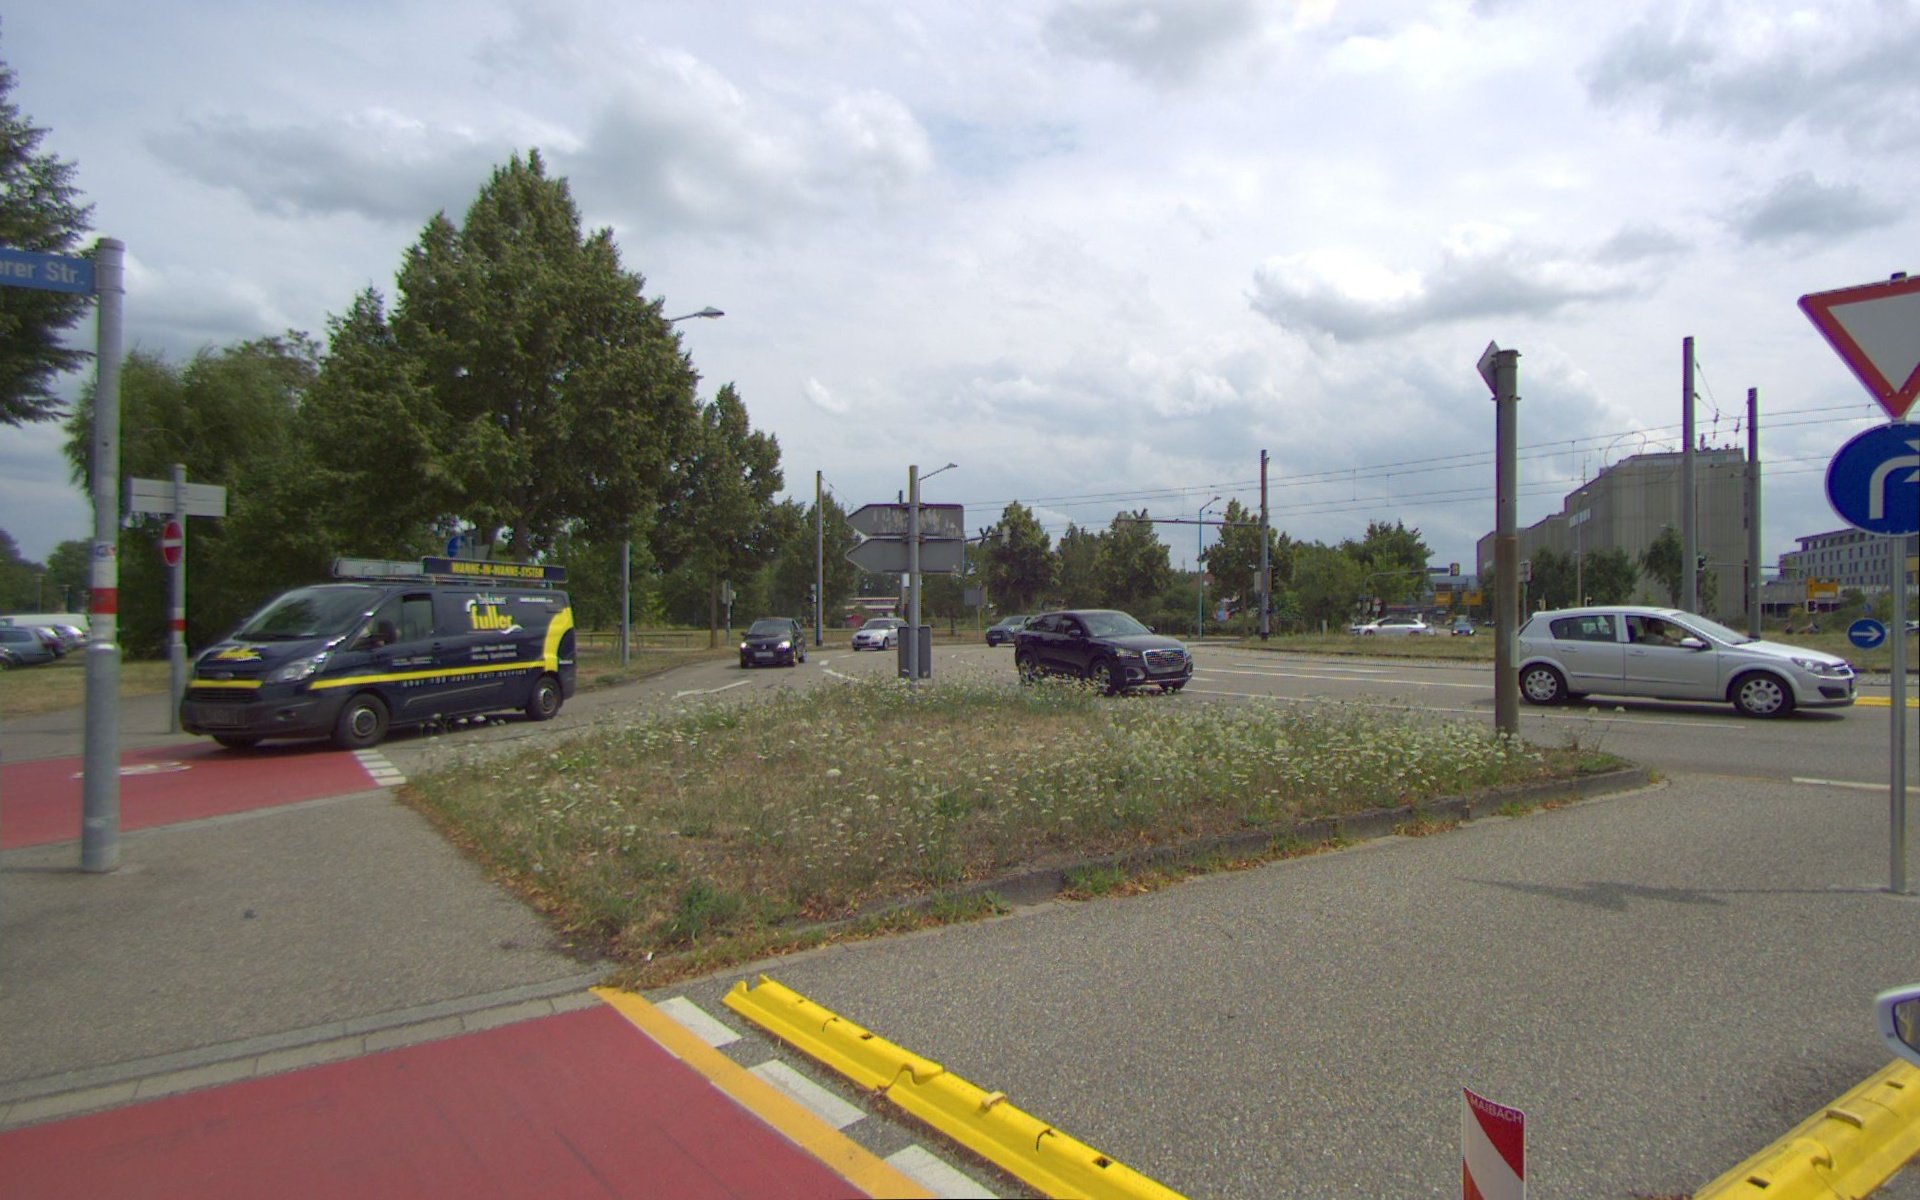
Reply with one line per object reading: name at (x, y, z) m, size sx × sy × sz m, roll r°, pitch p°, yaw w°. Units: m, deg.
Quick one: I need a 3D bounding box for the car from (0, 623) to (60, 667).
car at (-33.511, 1.506, 33.660) m, size 4.847 × 1.491 × 1.813 m, roll 1°, pitch -1°, yaw -39°

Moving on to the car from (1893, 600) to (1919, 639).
car at (50.875, 1.044, 51.515) m, size 1.967 × 2.040 × 3.988 m, roll 2°, pitch -1°, yaw -15°

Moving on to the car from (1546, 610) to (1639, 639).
car at (37.476, 1.442, 59.600) m, size 4.267 × 1.688 × 1.939 m, roll 0°, pitch -1°, yaw 14°

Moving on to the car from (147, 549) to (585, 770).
car at (-7.314, 0.671, 13.230) m, size 1.959 × 2.303 × 5.163 m, roll 0°, pitch -1°, yaw 12°

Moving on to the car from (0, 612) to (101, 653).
car at (-48.979, 1.704, 52.972) m, size 5.527 × 2.083 × 2.175 m, roll 1°, pitch -1°, yaw -41°

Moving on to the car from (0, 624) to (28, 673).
car at (-29.798, 1.497, 29.927) m, size 1.464 × 1.442 × 2.898 m, roll -2°, pitch 0°, yaw 44°

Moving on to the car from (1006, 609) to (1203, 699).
car at (2.643, 0.953, 19.349) m, size 1.719 × 1.539 × 4.118 m, roll 0°, pitch -1°, yaw -27°

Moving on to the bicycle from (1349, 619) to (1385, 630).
bicycle at (33.233, 2.001, 82.044) m, size 2.605 × 0.866 × 0.864 m, roll 0°, pitch -1°, yaw 4°

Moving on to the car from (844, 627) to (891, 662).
car at (-4.288, 2.037, 46.949) m, size 1.596 × 1.539 × 4.220 m, roll 0°, pitch -1°, yaw 3°

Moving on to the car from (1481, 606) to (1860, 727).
car at (10.113, 0.852, 14.565) m, size 1.816 × 1.482 × 4.209 m, roll 1°, pitch -1°, yaw -41°

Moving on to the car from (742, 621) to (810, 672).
car at (-5.563, 1.390, 30.704) m, size 1.600 × 1.433 × 3.720 m, roll -1°, pitch -2°, yaw -4°

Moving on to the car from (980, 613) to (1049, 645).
car at (2.893, 1.474, 52.535) m, size 2.026 × 1.572 × 4.470 m, roll -1°, pitch -1°, yaw 26°

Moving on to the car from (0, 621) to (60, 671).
car at (-31.578, 1.513, 31.709) m, size 4.670 × 1.491 × 1.811 m, roll -2°, pitch 1°, yaw -42°

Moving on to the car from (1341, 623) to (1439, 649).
car at (26.083, 2.177, 61.029) m, size 5.081 × 1.502 × 2.000 m, roll 0°, pitch -1°, yaw 0°

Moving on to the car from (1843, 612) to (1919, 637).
car at (57.813, 1.510, 62.547) m, size 1.800 × 1.483 × 3.995 m, roll 2°, pitch -1°, yaw -8°

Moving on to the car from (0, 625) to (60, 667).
car at (-35.084, 1.622, 35.440) m, size 4.847 × 1.491 × 1.813 m, roll 1°, pitch -1°, yaw -39°

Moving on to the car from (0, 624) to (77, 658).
car at (-42.690, 1.833, 45.038) m, size 4.565 × 1.491 × 1.813 m, roll 1°, pitch -1°, yaw -39°

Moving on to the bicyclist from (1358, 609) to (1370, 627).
bicyclist at (32.995, 1.462, 82.071) m, size 0.660 × 1.428 × 0.864 m, roll 0°, pitch -1°, yaw 4°

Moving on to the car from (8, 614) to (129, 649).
car at (-55.794, 1.962, 63.005) m, size 5.522 × 2.083 × 2.177 m, roll 1°, pitch -1°, yaw -39°
